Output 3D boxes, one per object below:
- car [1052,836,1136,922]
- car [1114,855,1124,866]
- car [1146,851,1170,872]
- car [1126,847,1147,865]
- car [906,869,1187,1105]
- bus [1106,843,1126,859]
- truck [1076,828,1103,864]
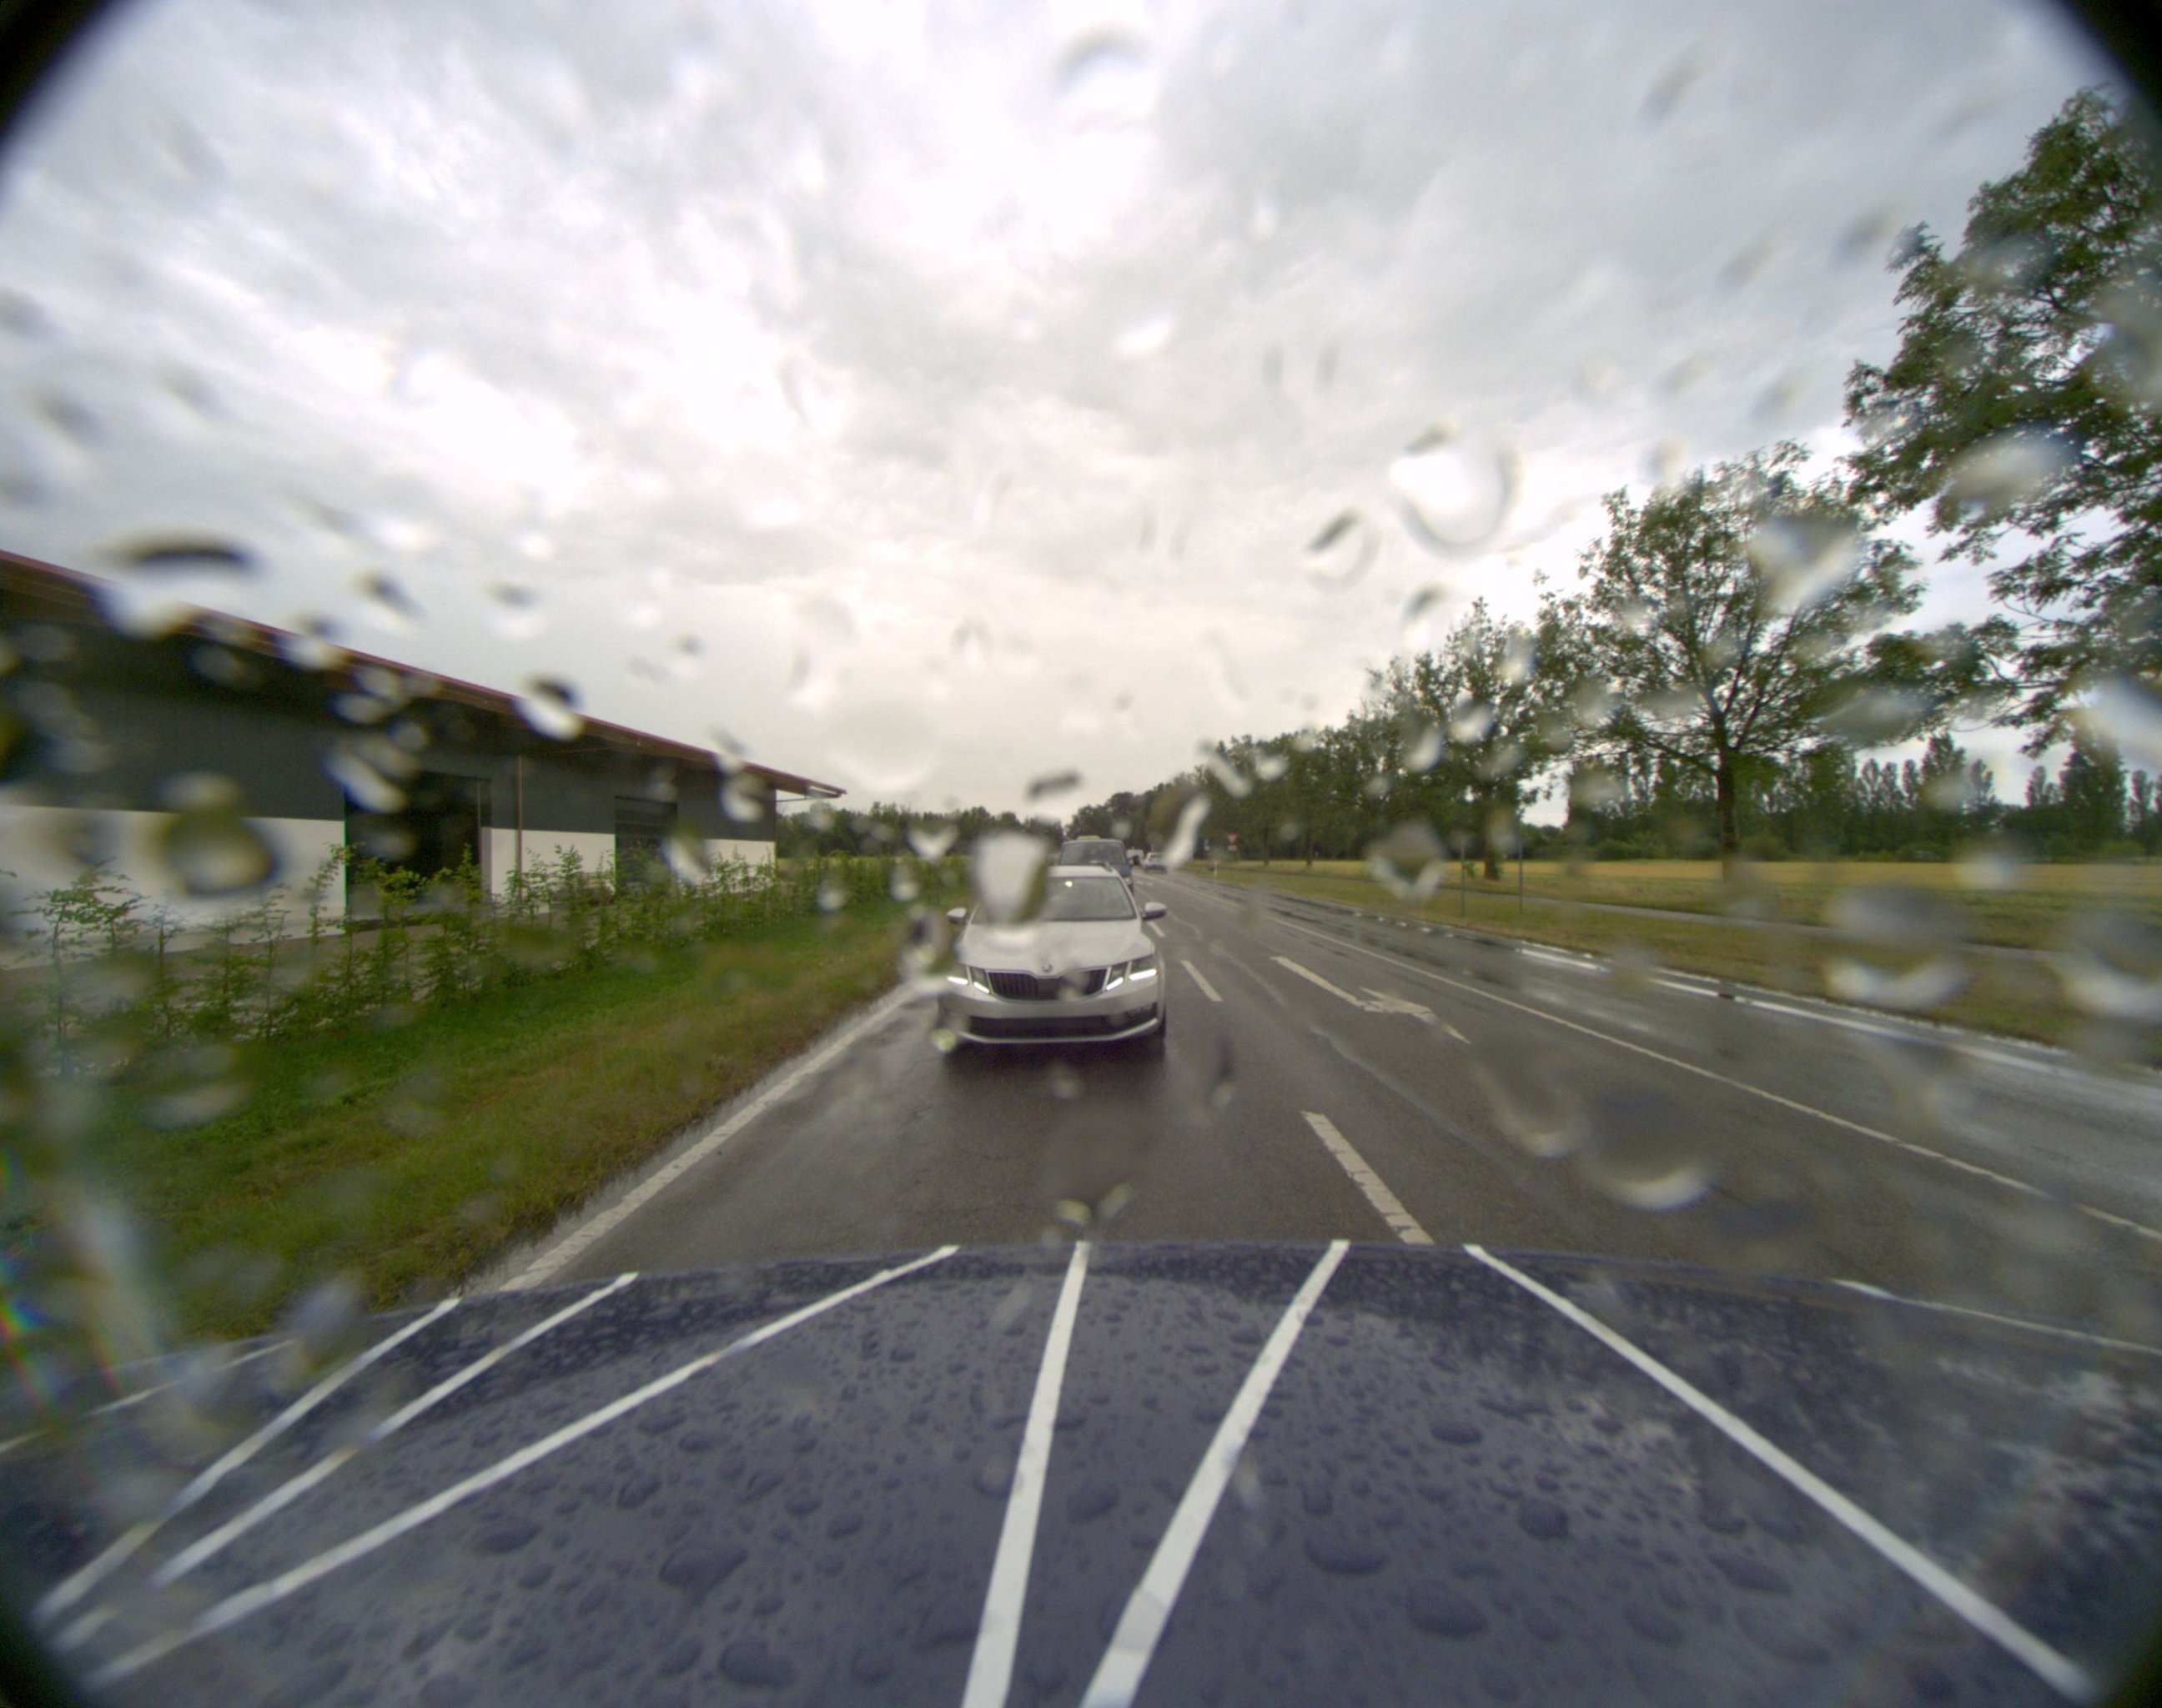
[{"bbox_3d":[0.319,0.542,19.106,1.892,1.939,4.000,0,1,1],"label":"car"},{"bbox_3d":[5.780,0.970,116.091,1.504,1.521,3.301,2,1,2],"label":"car"},{"bbox_3d":[6.346,0.592,62.924,1.708,1.661,4.156,1,1,2],"label":"car"},{"bbox_3d":[5.933,0.234,82.331,1.921,1.851,4.684,1,1,0],"label":"car"},{"bbox_3d":[-0.202,0.947,7.398,1.843,1.379,4.569,-2,1,1],"label":"car"},{"bbox_3d":[6.510,-0.561,143.399,2.958,2.895,12.473,0,1,0],"label":"bus"},{"bbox_3d":[1.020,-0.931,88.367,2.931,3.828,14.119,0,0,1],"label":"truck"}]
